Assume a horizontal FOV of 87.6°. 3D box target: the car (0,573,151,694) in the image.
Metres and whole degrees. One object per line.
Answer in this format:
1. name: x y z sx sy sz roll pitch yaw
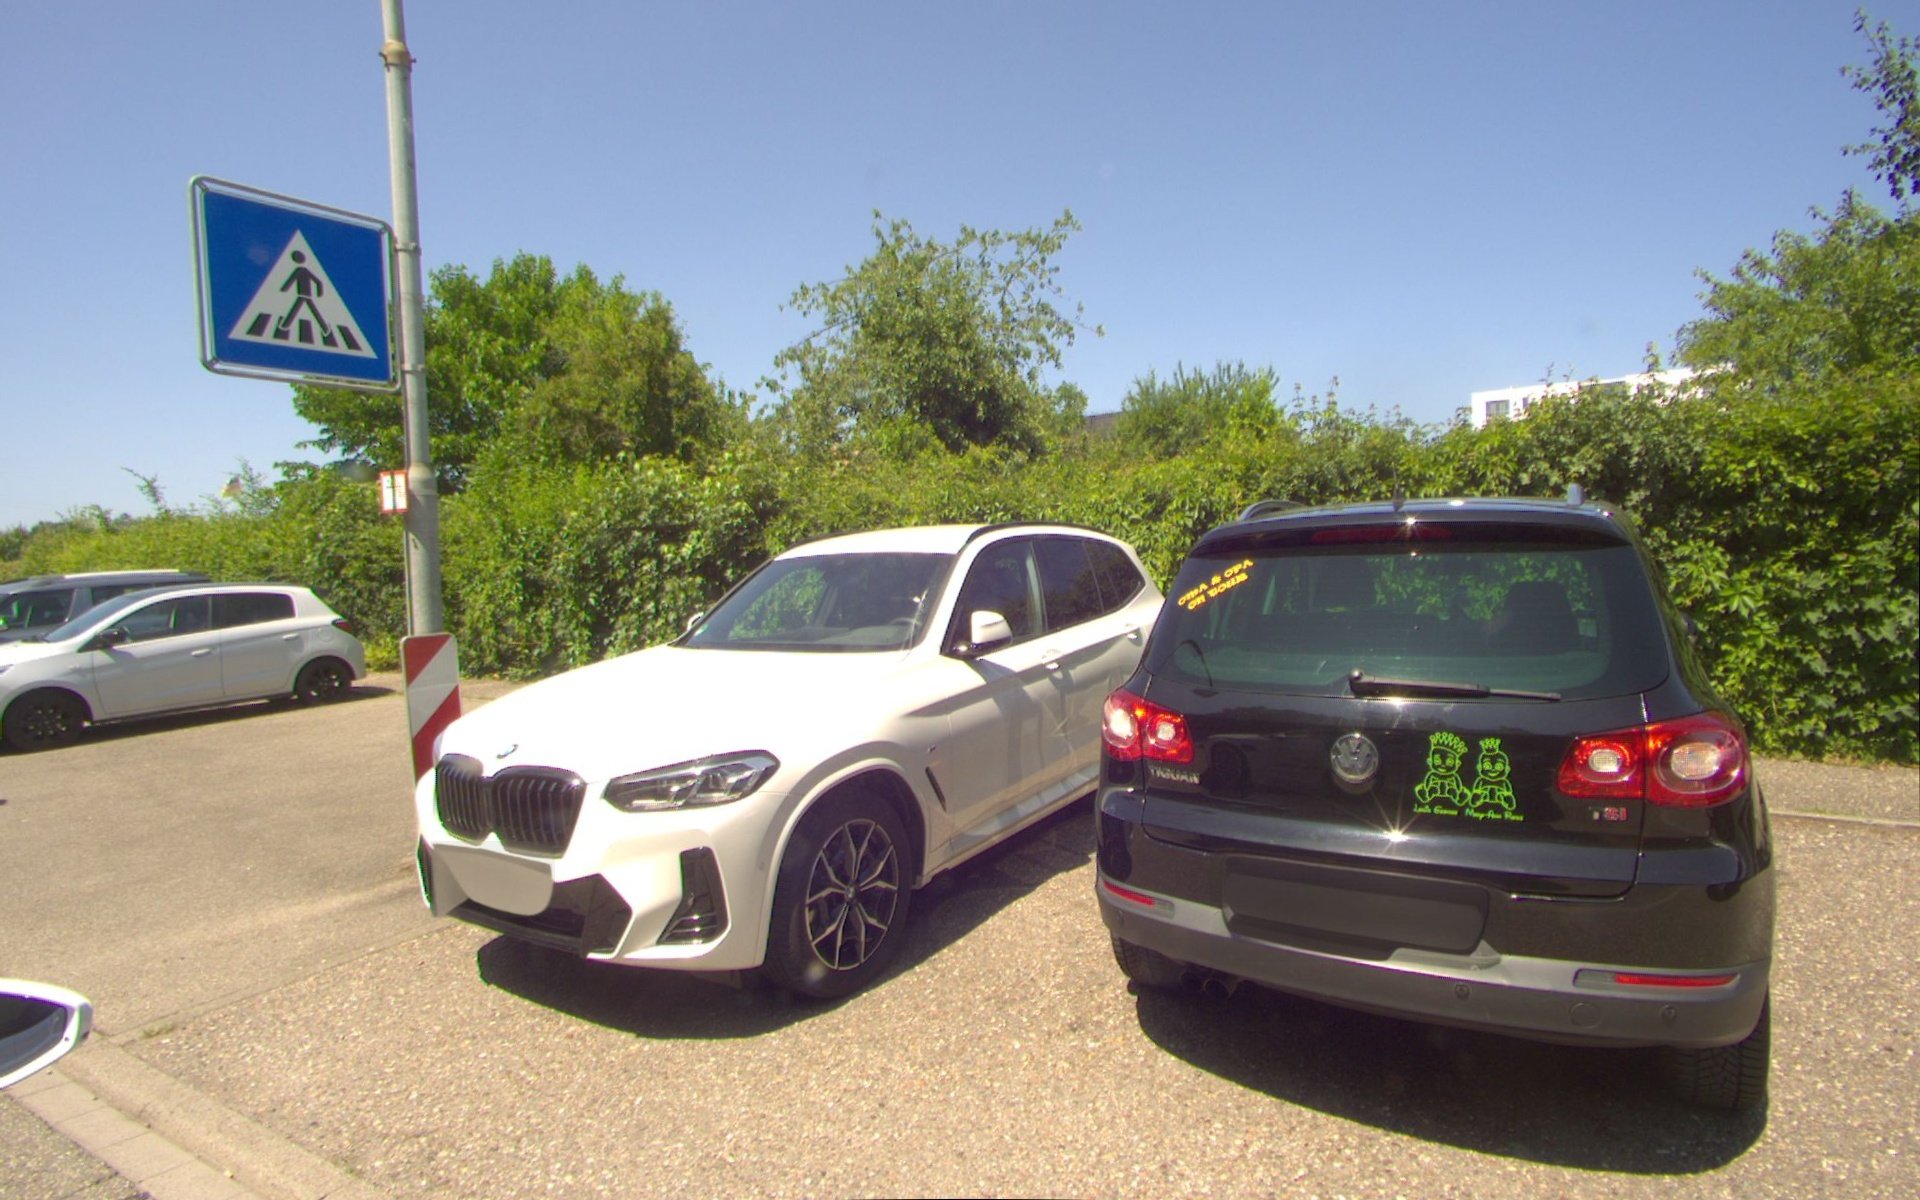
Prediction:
1. car: -13.695 0.503 13.879 1.515 1.549 3.446 0 5 28

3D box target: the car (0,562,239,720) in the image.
1. car: -11.399 0.490 12.104 1.637 1.664 3.953 0 5 27

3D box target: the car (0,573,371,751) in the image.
1. car: -8.791 0.554 10.927 1.588 1.472 3.673 1 6 36

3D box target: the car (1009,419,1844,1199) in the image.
1. car: 1.924 0.423 4.019 1.741 1.709 3.962 0 3 32

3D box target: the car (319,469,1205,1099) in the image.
1. car: -0.392 0.415 5.125 1.825 1.753 4.440 -1 3 33

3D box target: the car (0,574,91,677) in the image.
1. car: -16.176 0.504 15.246 1.835 1.545 3.955 0 5 27

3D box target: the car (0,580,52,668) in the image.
1. car: -18.287 0.489 17.430 1.566 1.525 3.374 1 4 36
